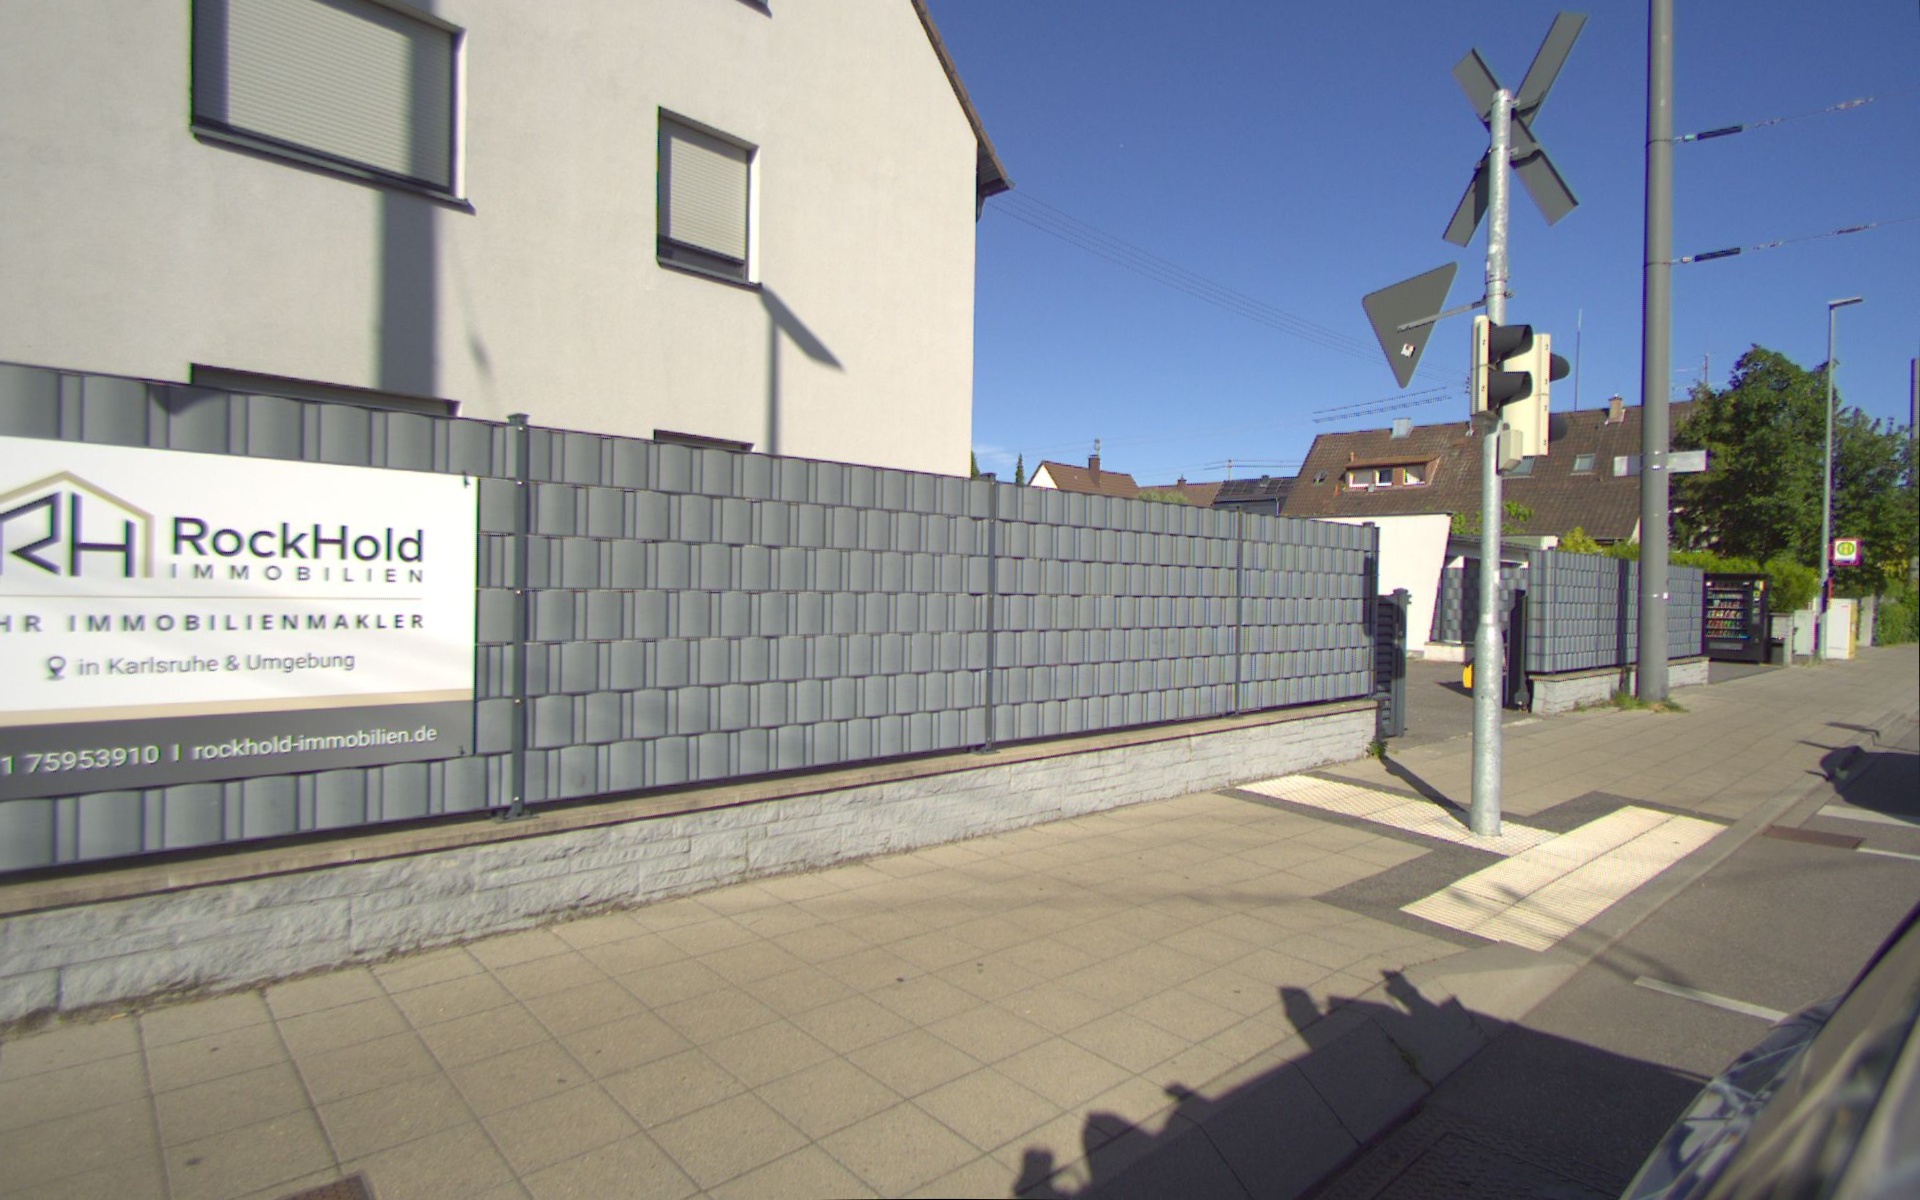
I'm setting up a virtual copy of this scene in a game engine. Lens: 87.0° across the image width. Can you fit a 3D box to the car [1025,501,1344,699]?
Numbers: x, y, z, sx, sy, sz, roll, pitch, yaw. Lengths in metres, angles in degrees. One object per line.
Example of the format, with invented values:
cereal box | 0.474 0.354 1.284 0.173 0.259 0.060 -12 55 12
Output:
car | 3.104 -0.070 15.246 1.959 2.462 5.000 -1 2 -27
